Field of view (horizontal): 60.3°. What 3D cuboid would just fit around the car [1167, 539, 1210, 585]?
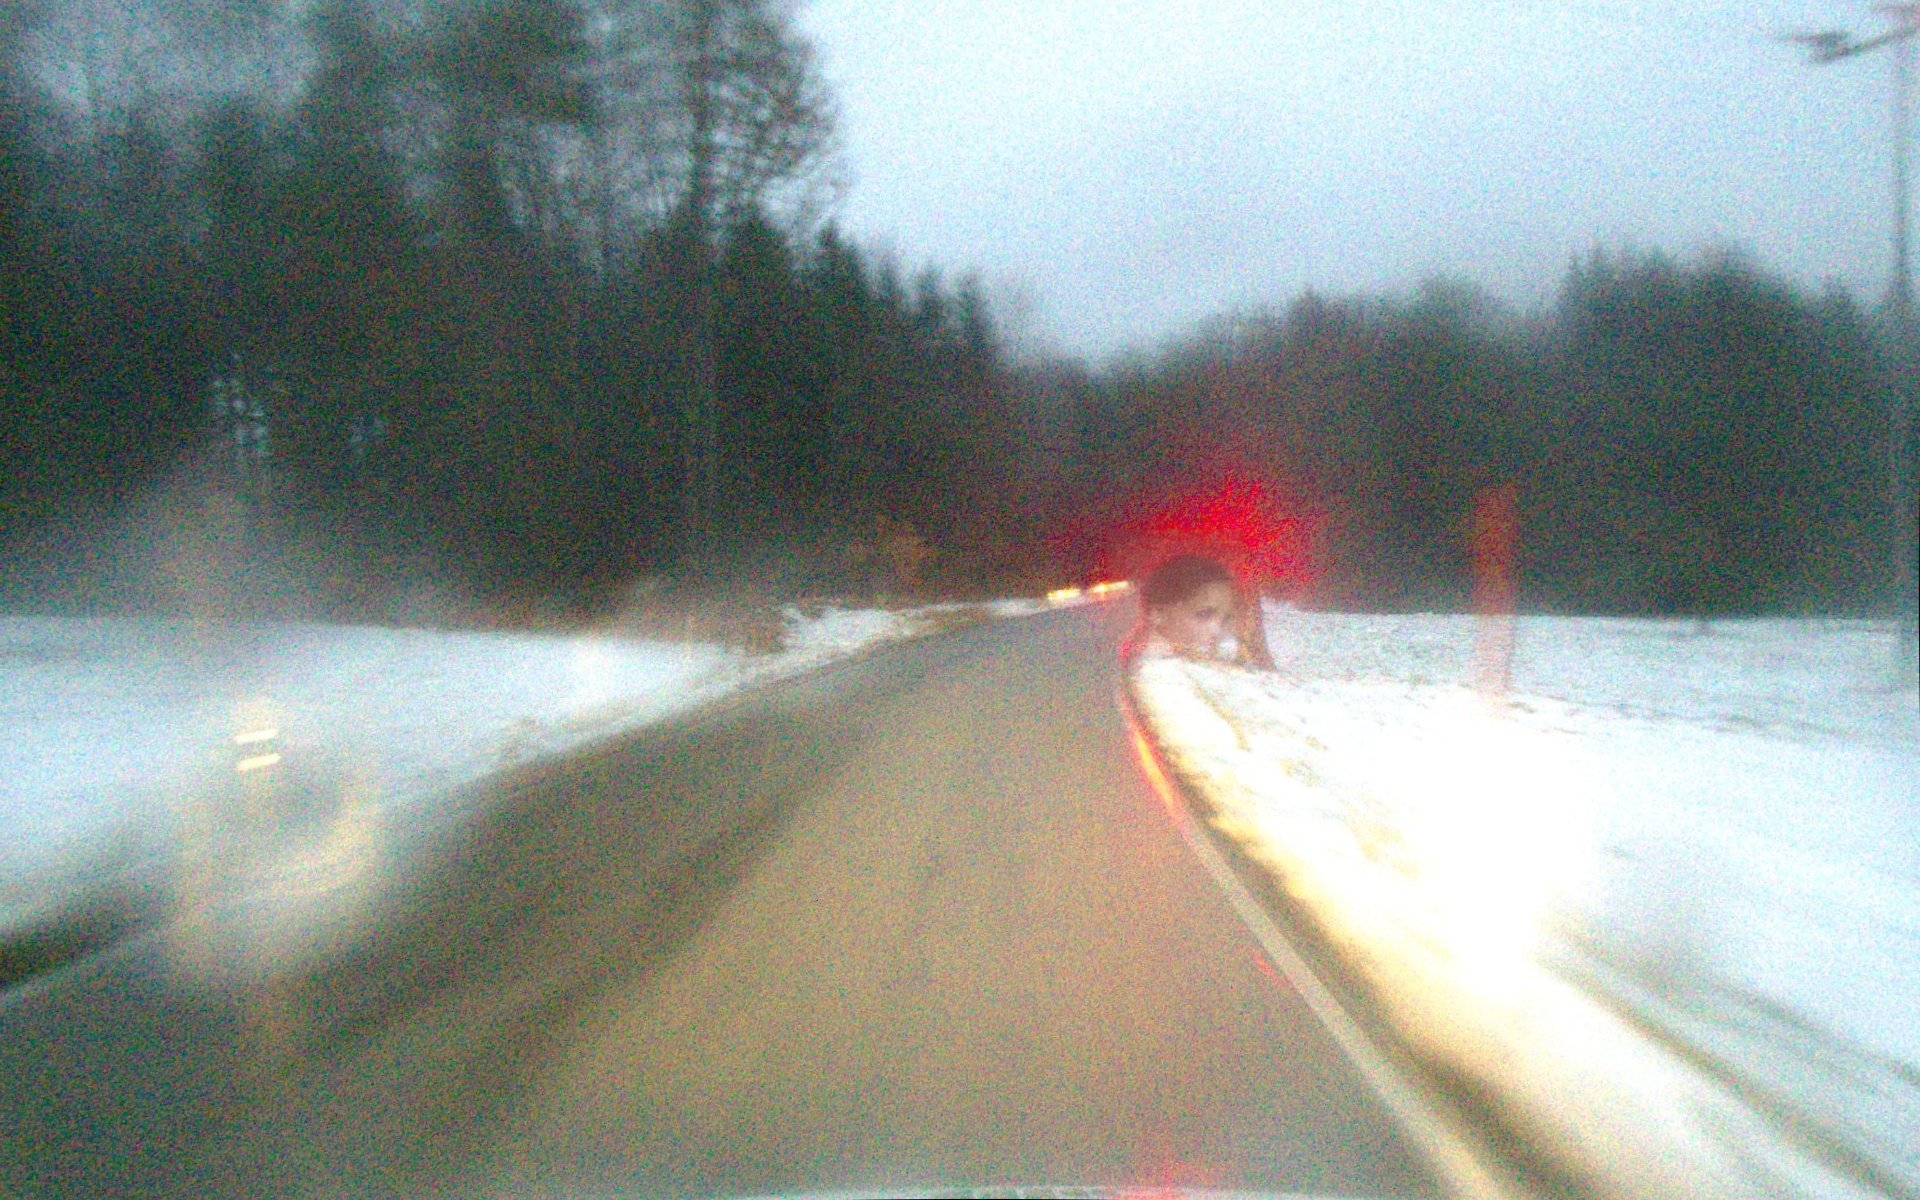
[{"bbox_3d":[13.856,-2.273,99.932,2.204,2.691,5.011,-1,1,12],"label":"car"}]

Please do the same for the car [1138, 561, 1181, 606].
[{"bbox_3d":[9.723,-0.836,80.906,1.951,2.087,4.003,1,2,5],"label":"car"}]
